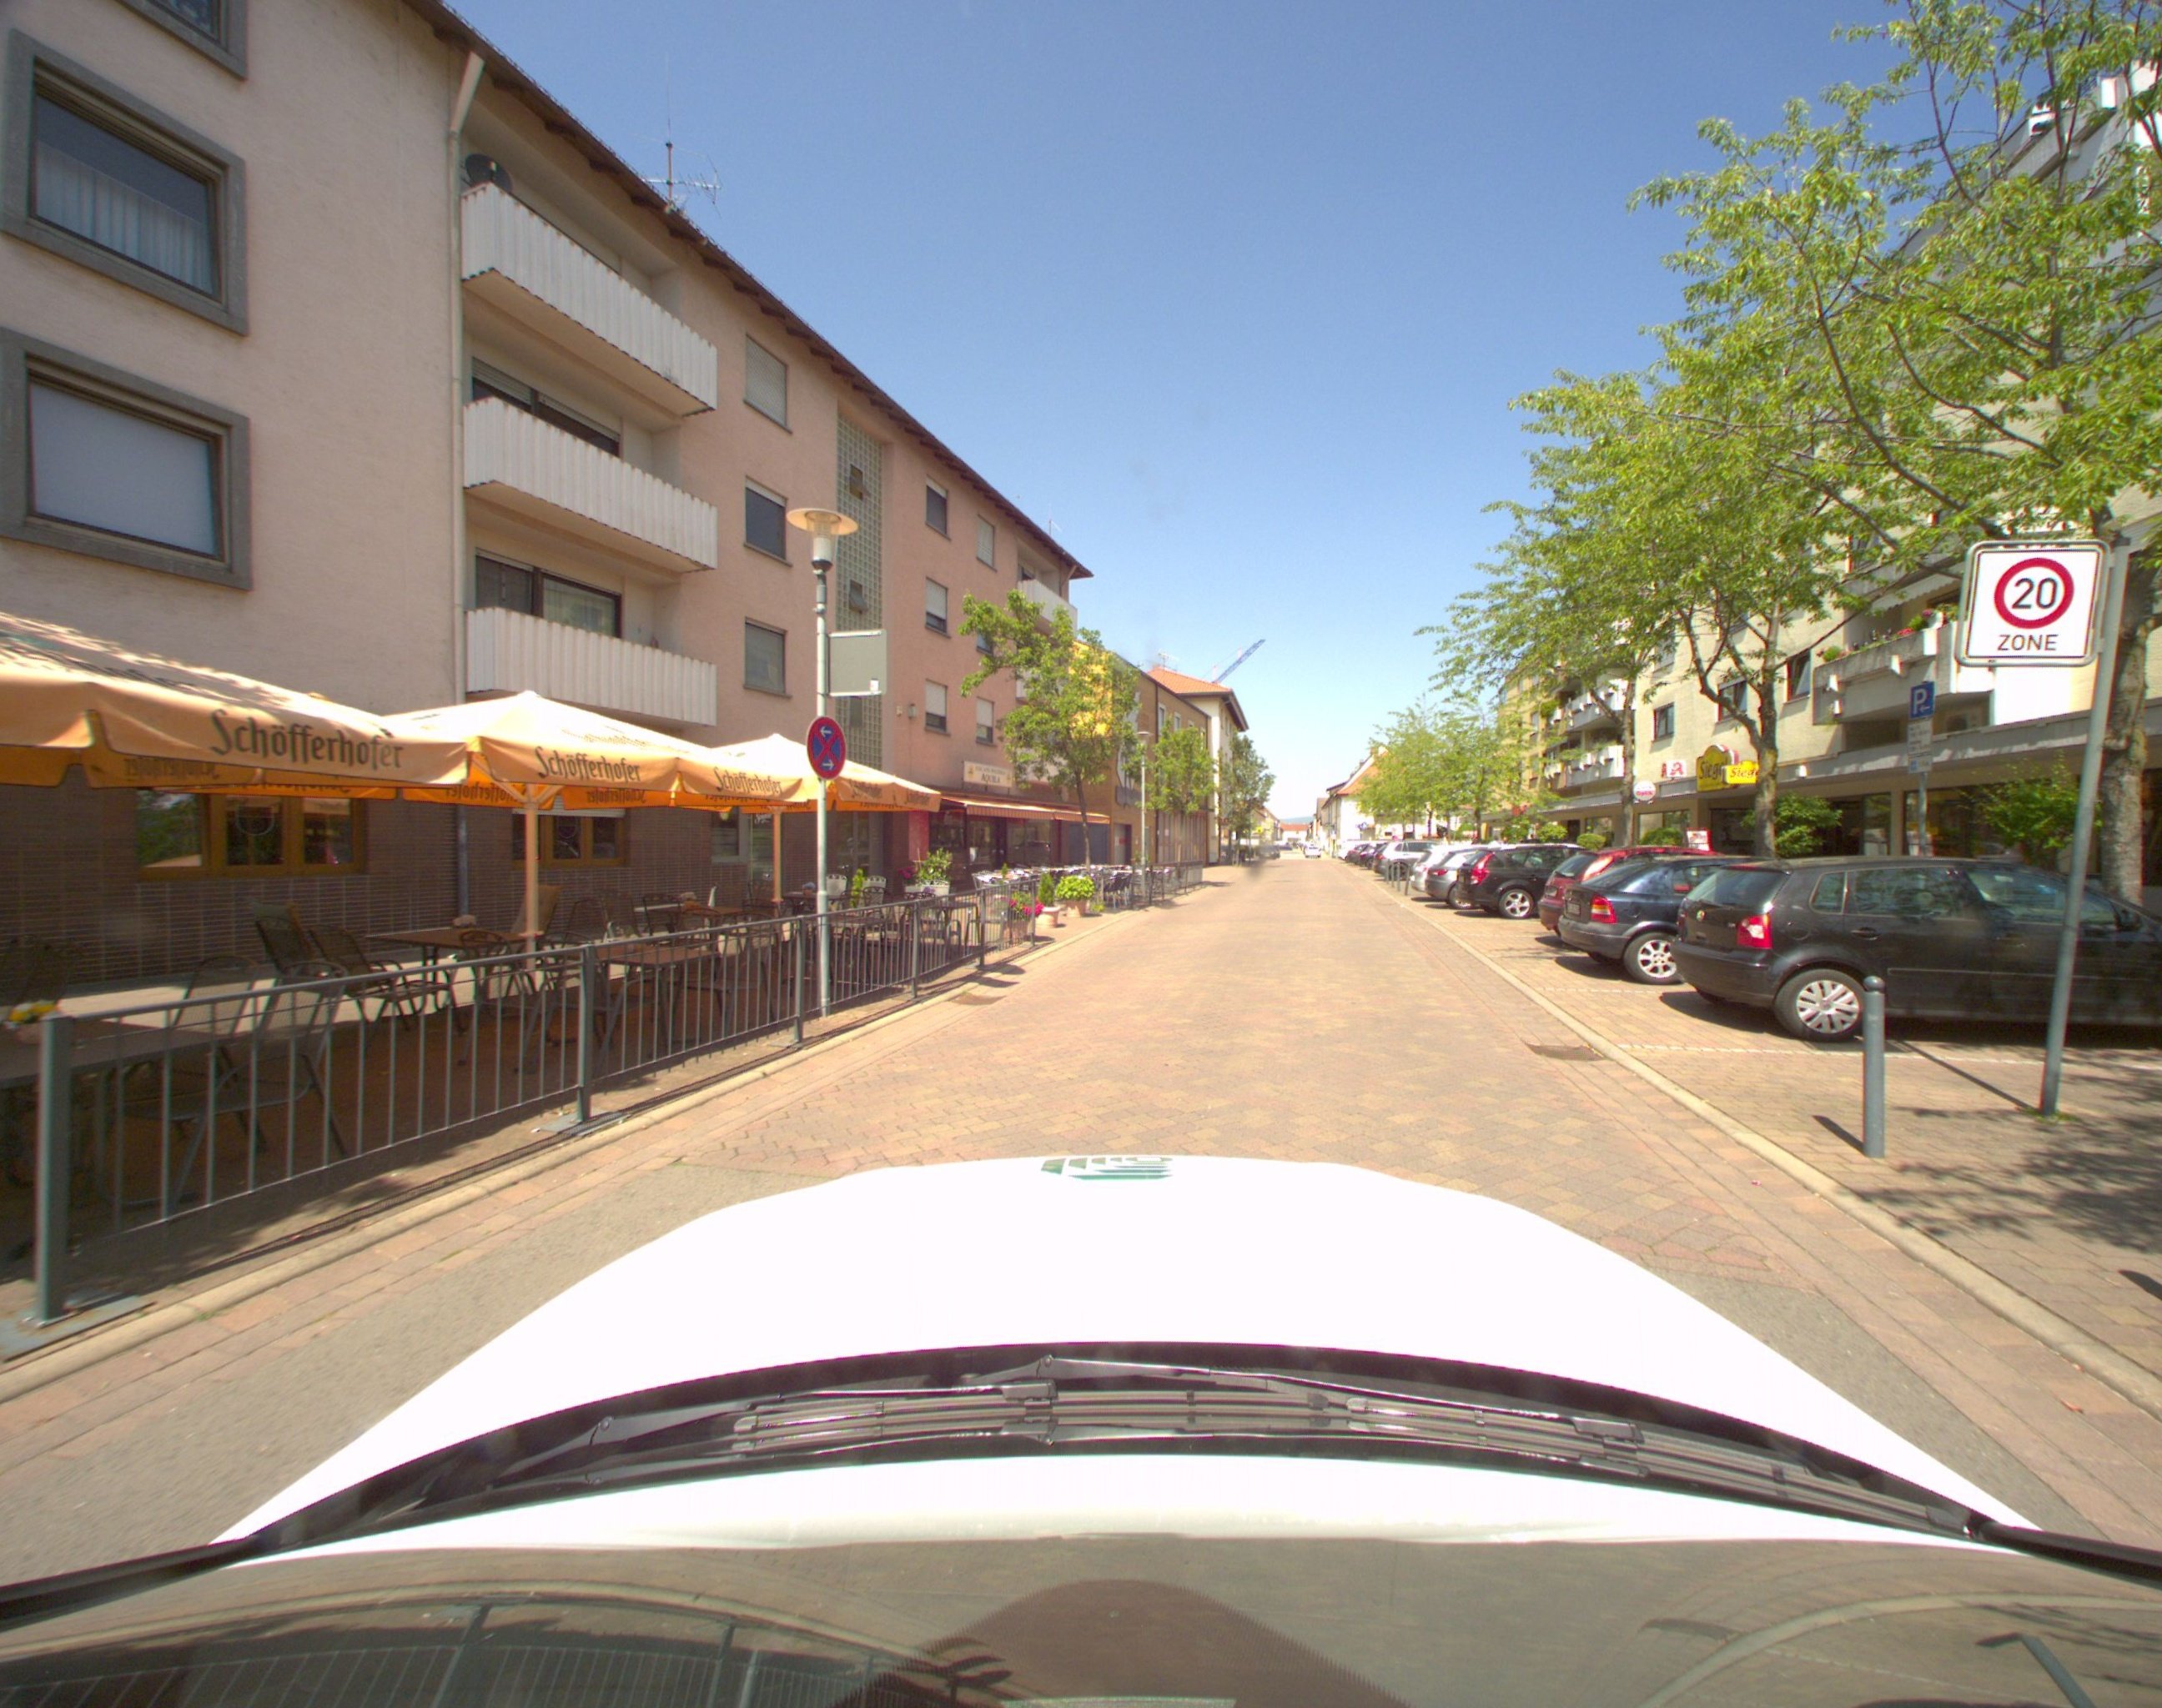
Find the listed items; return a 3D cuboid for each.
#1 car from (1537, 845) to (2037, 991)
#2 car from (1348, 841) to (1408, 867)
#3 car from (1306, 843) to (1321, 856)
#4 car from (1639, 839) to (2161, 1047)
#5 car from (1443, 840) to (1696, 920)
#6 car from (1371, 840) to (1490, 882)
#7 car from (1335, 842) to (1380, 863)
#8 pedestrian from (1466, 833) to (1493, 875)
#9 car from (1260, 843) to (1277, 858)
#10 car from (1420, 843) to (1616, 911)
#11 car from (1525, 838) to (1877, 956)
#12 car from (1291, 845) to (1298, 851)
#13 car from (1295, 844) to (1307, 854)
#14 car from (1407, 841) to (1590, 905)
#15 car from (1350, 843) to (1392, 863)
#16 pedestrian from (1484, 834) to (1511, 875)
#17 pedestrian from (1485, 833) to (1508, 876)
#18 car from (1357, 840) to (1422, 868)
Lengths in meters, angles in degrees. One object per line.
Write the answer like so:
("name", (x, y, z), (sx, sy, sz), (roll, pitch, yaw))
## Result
("car", (7.850, 0.669, 9.543), (4.066, 1.431, 1.791), (-1, 1, 15))
("car", (19.192, 0.010, 52.799), (3.496, 1.624, 1.717), (0, 0, 14))
("car", (29.308, -0.553, 102.685), (1.817, 1.532, 3.962), (0, 2, 16))
("car", (7.374, 0.644, 6.968), (3.930, 1.510, 1.779), (0, 0, 14))
("car", (10.030, 0.502, 17.064), (4.154, 1.541, 1.953), (0, 1, 12))
("car", (13.938, 0.251, 32.687), (4.213, 1.615, 1.564), (0, 1, 14))
("car", (23.395, -0.140, 68.980), (3.456, 1.700, 1.540), (-1, 0, 10))
("pedestrian", (17.339, -0.021, 35.458), (0.832, 1.786, 0.809), (0, 1, 9))
("car", (19.746, -0.379, 85.691), (1.496, 1.500, 3.843), (0, 2, 16))
("car", (10.181, 0.504, 19.308), (3.904, 1.489, 1.724), (0, 1, 21))
("car", (8.769, 0.579, 11.893), (3.695, 1.534, 1.773), (-1, 1, 15))
("car", (58.637, -1.742, 223.158), (1.733, 1.481, 3.645), (0, 2, 16))
("car", (33.007, -0.723, 122.135), (1.733, 1.481, 3.645), (0, 2, 16))
("car", (11.038, 0.460, 21.849), (4.121, 1.573, 1.767), (0, 2, 17))
("car", (25.461, -0.131, 71.614), (3.323, 1.715, 1.476), (0, 0, 14))
("pedestrian", (18.306, 0.008, 35.815), (0.832, 1.786, 0.809), (0, 1, 9))
("pedestrian", (17.524, 0.011, 34.313), (0.829, 1.786, 0.812), (0, 2, 28))
("car", (18.664, -0.003, 49.370), (3.496, 1.655, 1.717), (0, 0, 14))
